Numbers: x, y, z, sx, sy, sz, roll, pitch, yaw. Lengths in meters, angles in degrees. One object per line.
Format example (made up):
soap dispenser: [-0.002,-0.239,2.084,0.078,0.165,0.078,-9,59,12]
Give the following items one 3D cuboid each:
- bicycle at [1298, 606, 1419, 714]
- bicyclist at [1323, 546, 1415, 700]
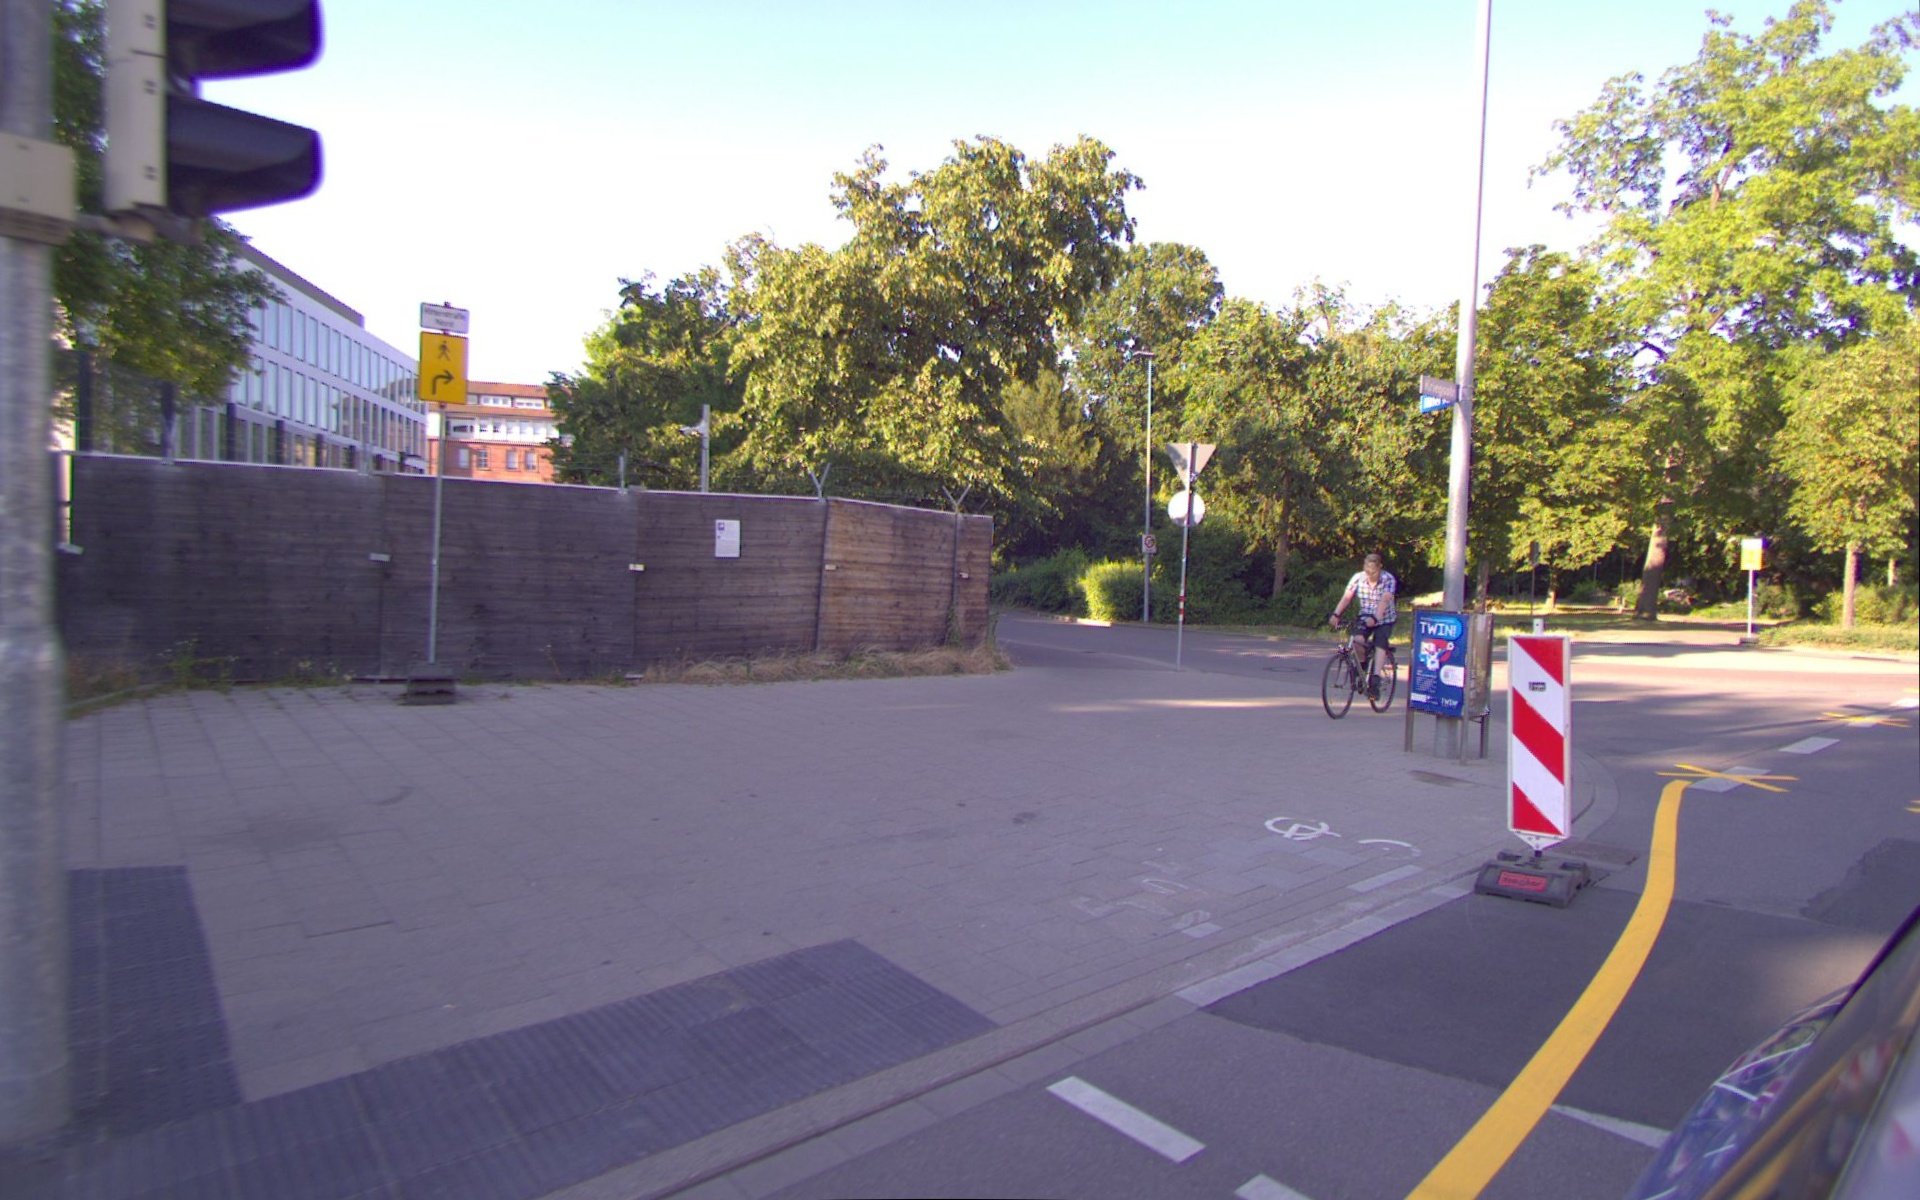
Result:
bicycle: [4.466,0.624,11.266,1.878,1.074,0.428,-1,2,-42]
bicyclist: [4.548,0.229,11.243,0.888,1.634,0.585,0,2,-42]
